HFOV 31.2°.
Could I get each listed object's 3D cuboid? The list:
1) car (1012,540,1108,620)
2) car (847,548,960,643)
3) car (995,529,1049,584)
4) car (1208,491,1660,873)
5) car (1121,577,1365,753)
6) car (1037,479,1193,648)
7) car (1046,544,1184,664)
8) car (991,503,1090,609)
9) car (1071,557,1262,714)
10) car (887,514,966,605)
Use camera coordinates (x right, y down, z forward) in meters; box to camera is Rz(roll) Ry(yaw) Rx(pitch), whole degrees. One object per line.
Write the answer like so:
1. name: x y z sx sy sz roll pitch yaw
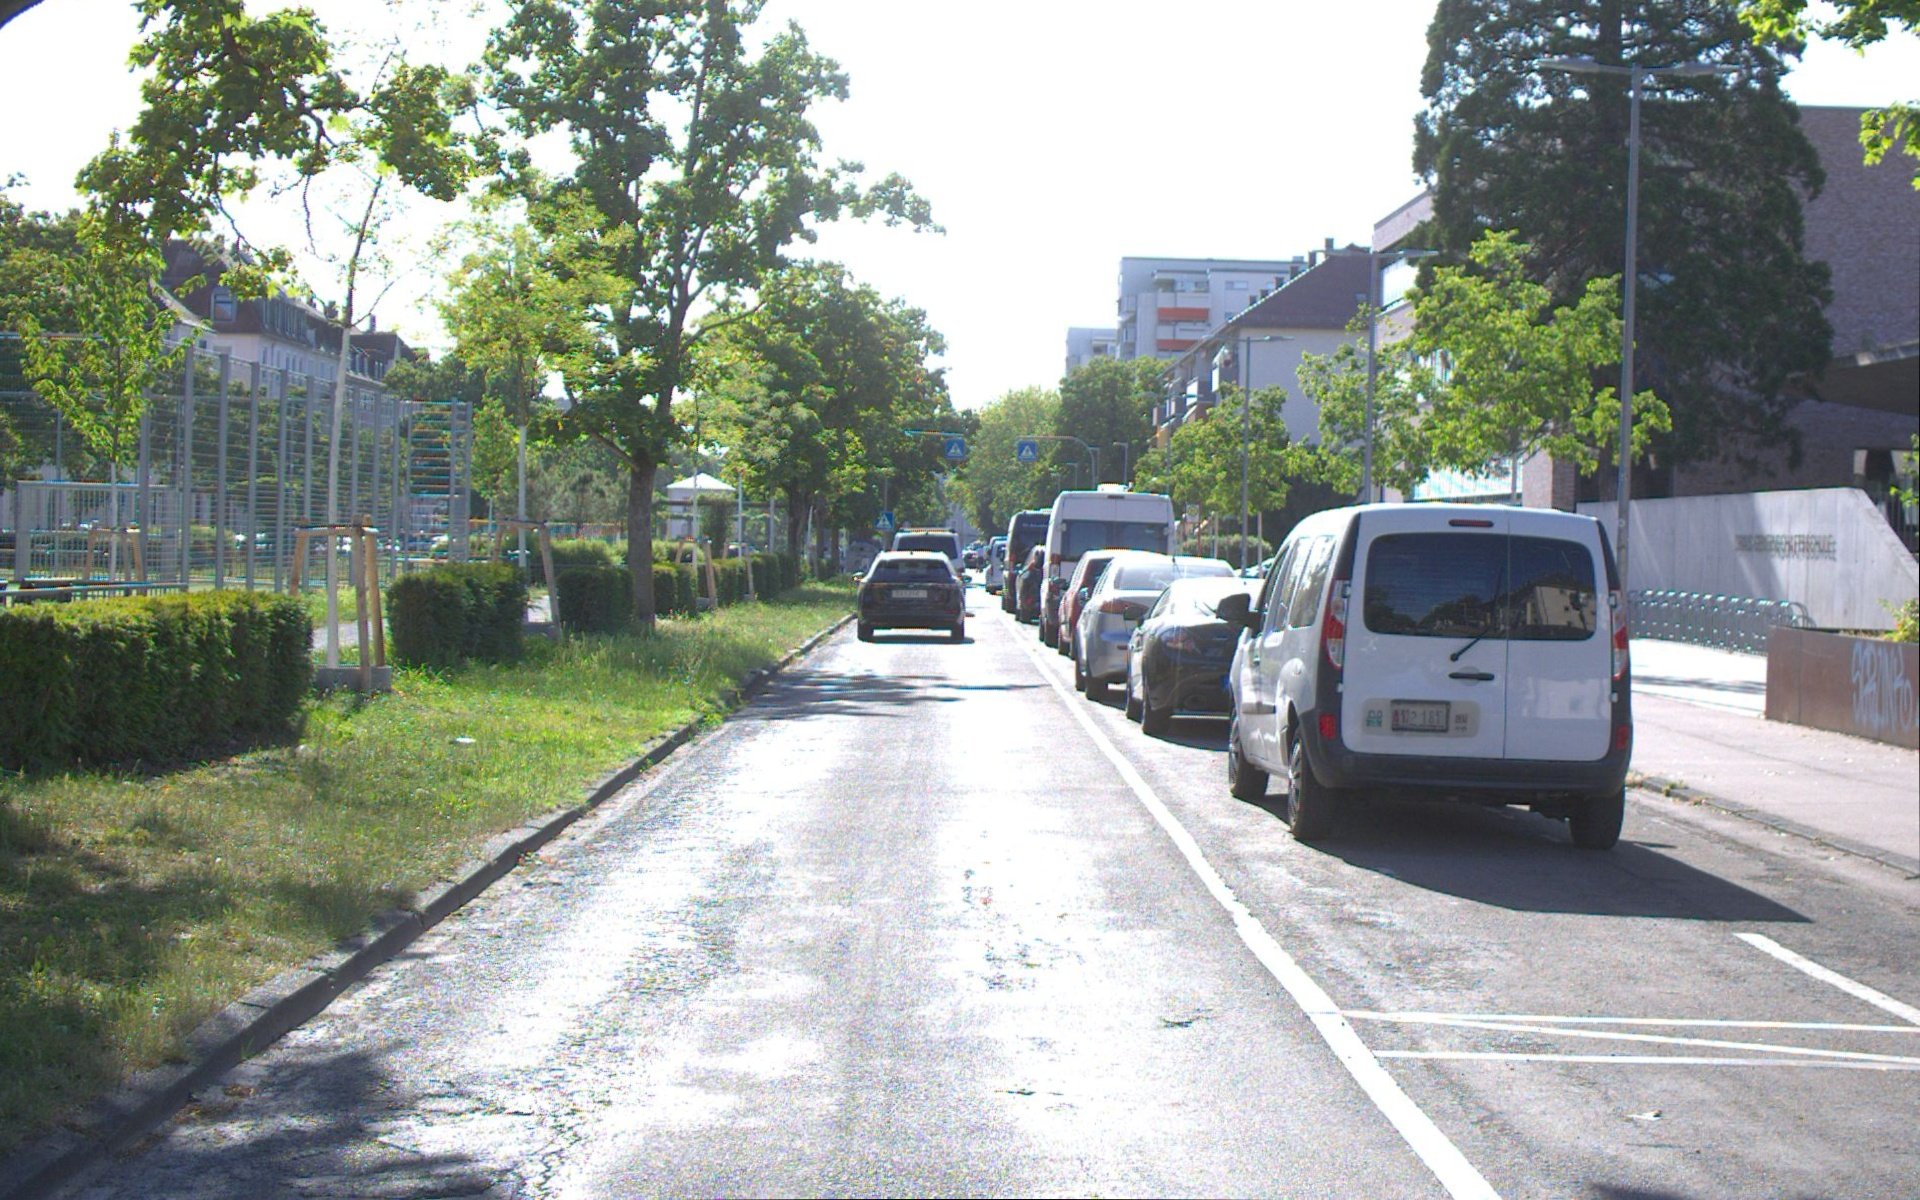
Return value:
1. car: 2.120 -0.448 74.065 1.846 1.634 4.504 1 1 -1
2. car: -0.924 -0.101 58.134 1.794 1.505 4.000 1 1 0
3. car: 2.182 -1.527 120.157 1.794 1.848 4.413 2 1 2
4. car: 2.597 0.378 19.901 1.808 1.902 4.462 2 1 -2
5. car: 2.385 0.511 29.846 1.701 1.321 4.130 2 1 -1
6. car: 2.482 -0.613 56.347 2.241 2.565 5.432 2 1 0
7. car: 2.179 0.029 48.972 1.619 1.583 3.592 1 1 -2
8. car: 1.973 -1.110 86.157 2.115 2.507 6.533 1 1 -2
9. car: 2.110 0.322 36.096 1.701 1.473 4.174 2 1 0
10. car: -0.792 -0.996 83.113 1.794 2.115 4.000 1 1 0
